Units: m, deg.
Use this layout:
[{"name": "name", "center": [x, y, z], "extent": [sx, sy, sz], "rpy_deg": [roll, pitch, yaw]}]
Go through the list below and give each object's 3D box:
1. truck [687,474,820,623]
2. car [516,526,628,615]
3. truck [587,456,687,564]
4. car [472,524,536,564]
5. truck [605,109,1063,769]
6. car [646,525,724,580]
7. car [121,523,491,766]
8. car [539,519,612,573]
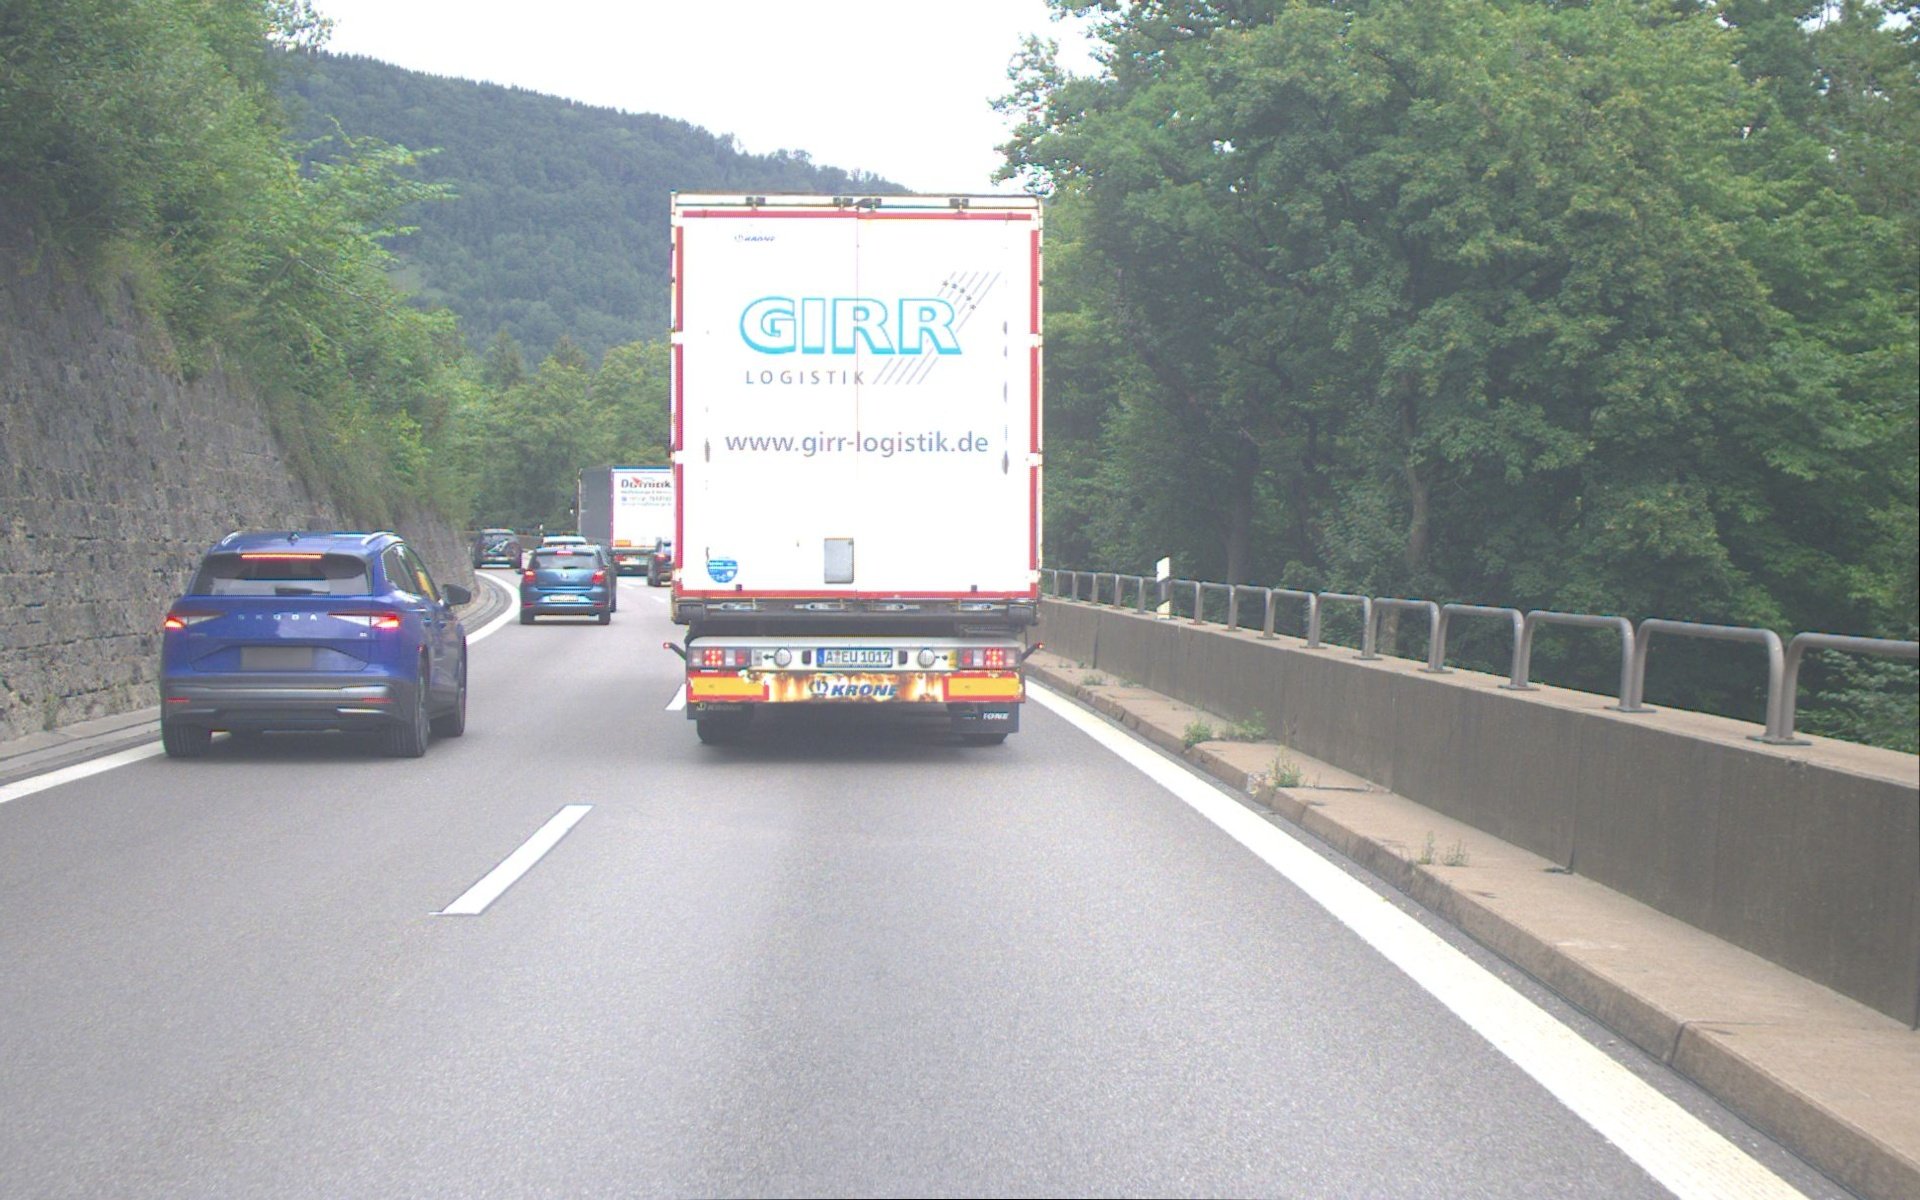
[{"name": "truck", "center": [-4.171, -1.032, 68.548], "extent": [2.208, 2.841, 5.005], "rpy_deg": [1, 1, -8]}, {"name": "car", "center": [-7.278, -0.576, 64.708], "extent": [1.993, 1.590, 4.354], "rpy_deg": [1, 1, -6]}, {"name": "truck", "center": [-12.183, -3.348, 128.755], "extent": [2.633, 3.844, 12.363], "rpy_deg": [-1, 1, -10]}, {"name": "car", "center": [-18.669, -2.310, 140.703], "extent": [1.896, 1.545, 4.251], "rpy_deg": [1, 1, -17]}, {"name": "truck", "center": [-1.069, -1.266, 30.833], "extent": [3.084, 4.448, 15.157], "rpy_deg": [0, 1, -2]}, {"name": "car", "center": [-8.563, -1.501, 106.746], "extent": [2.060, 1.648, 4.001], "rpy_deg": [-1, 1, -10]}, {"name": "car", "center": [-4.779, 0.267, 25.835], "extent": [1.993, 1.626, 5.009], "rpy_deg": [1, 1, -2]}, {"name": "car", "center": [-11.537, -1.622, 102.972], "extent": [1.896, 1.545, 4.251], "rpy_deg": [1, 1, -10]}]
